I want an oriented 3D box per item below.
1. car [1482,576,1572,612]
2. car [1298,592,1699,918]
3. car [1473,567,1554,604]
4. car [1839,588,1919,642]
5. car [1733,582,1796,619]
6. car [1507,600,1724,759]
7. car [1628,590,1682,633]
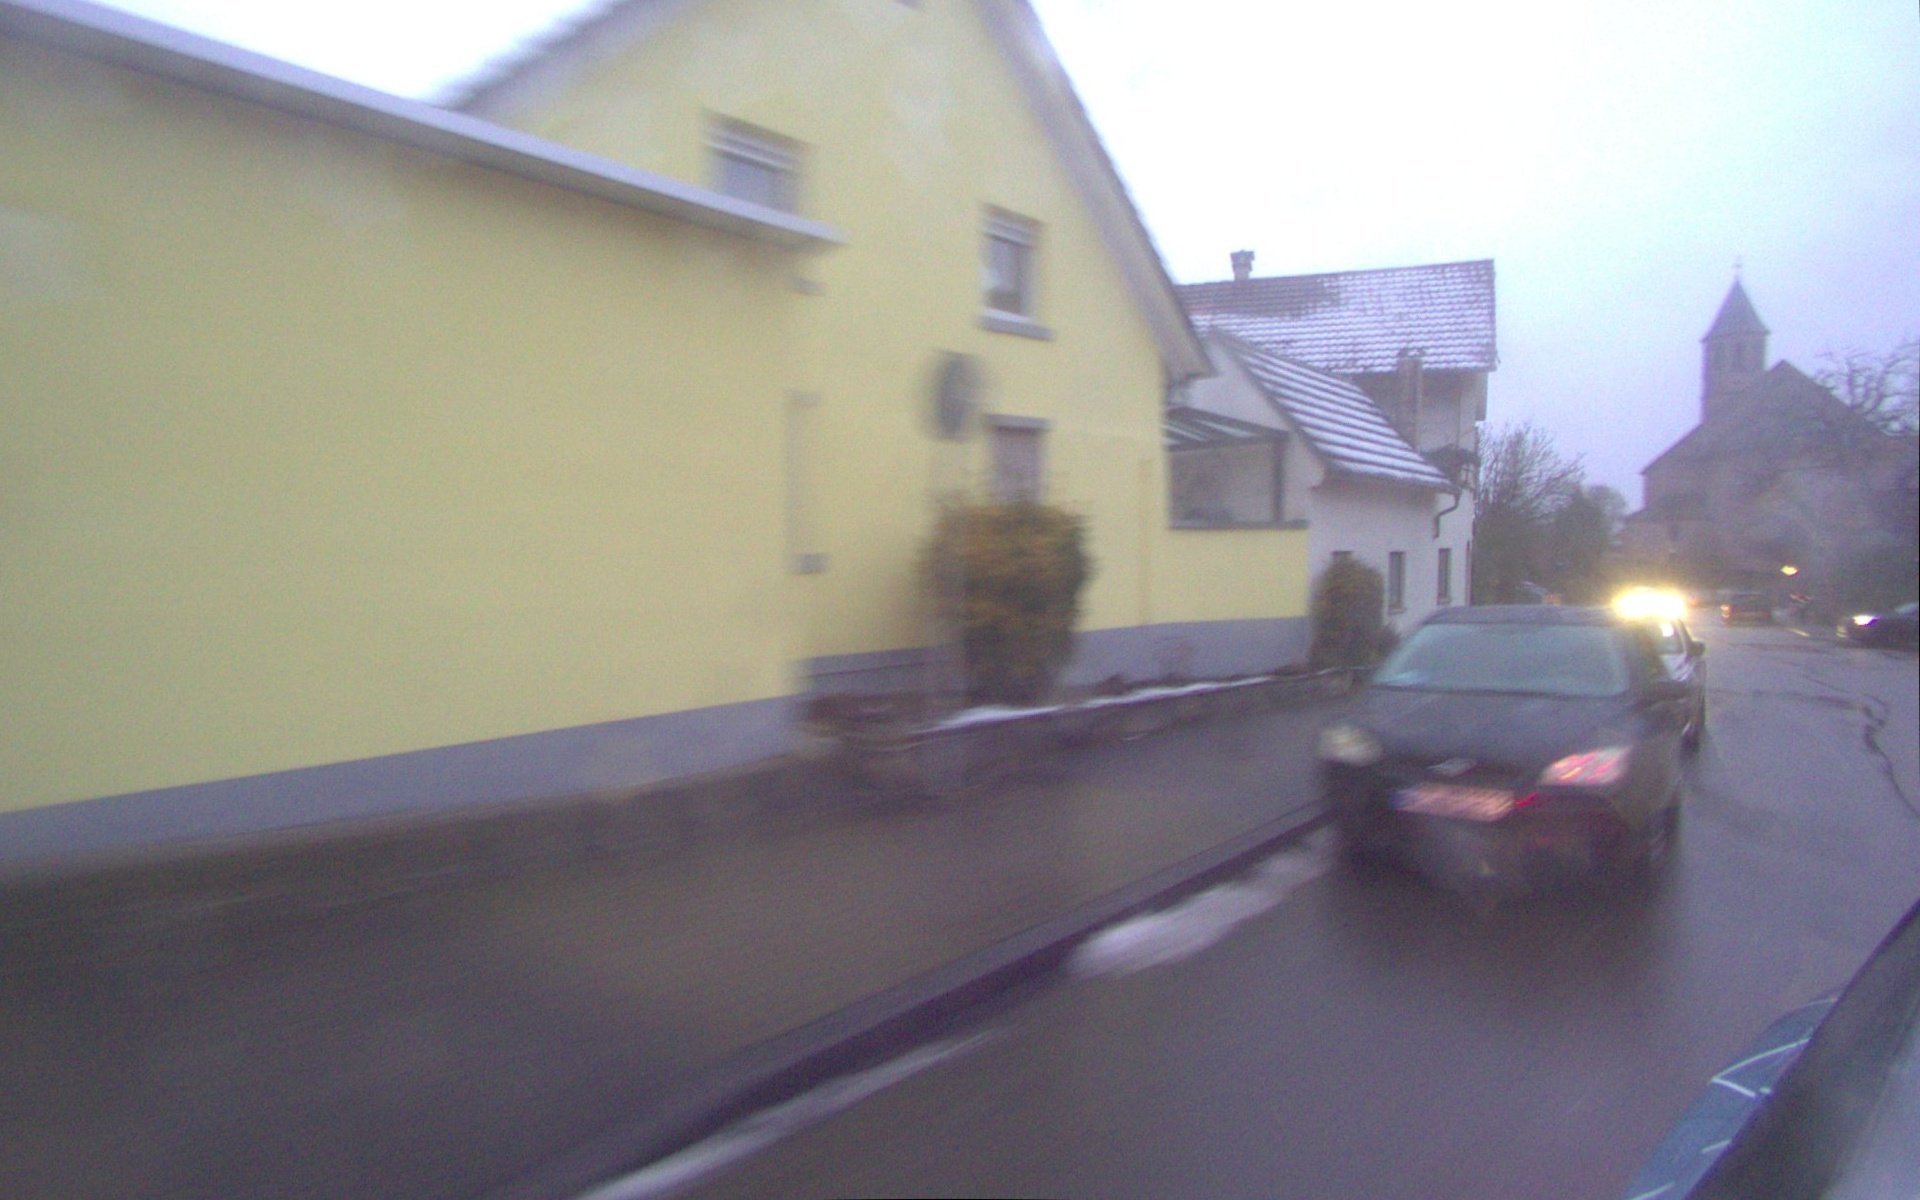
[{"bbox_3d":[29.474,-0.351,52.761,3.961,1.816,1.982,1,1,27],"label":"car"},{"bbox_3d":[4.044,0.699,7.099,1.722,1.449,4.733,1,1,38],"label":"car"},{"bbox_3d":[31.571,-0.840,57.837,3.961,2.039,1.982,1,1,27],"label":"car"},{"bbox_3d":[30.193,0.456,31.119,4.442,1.599,1.980,1,1,30],"label":"car"},{"bbox_3d":[37.601,-0.027,47.399,1.986,1.649,3.952,1,1,34],"label":"car"},{"bbox_3d":[8.051,0.771,12.227,1.787,1.457,4.559,1,1,38],"label":"car"},{"bbox_3d":[36.001,0.549,52.525,1.983,2.039,3.958,1,1,30],"label":"car"}]
